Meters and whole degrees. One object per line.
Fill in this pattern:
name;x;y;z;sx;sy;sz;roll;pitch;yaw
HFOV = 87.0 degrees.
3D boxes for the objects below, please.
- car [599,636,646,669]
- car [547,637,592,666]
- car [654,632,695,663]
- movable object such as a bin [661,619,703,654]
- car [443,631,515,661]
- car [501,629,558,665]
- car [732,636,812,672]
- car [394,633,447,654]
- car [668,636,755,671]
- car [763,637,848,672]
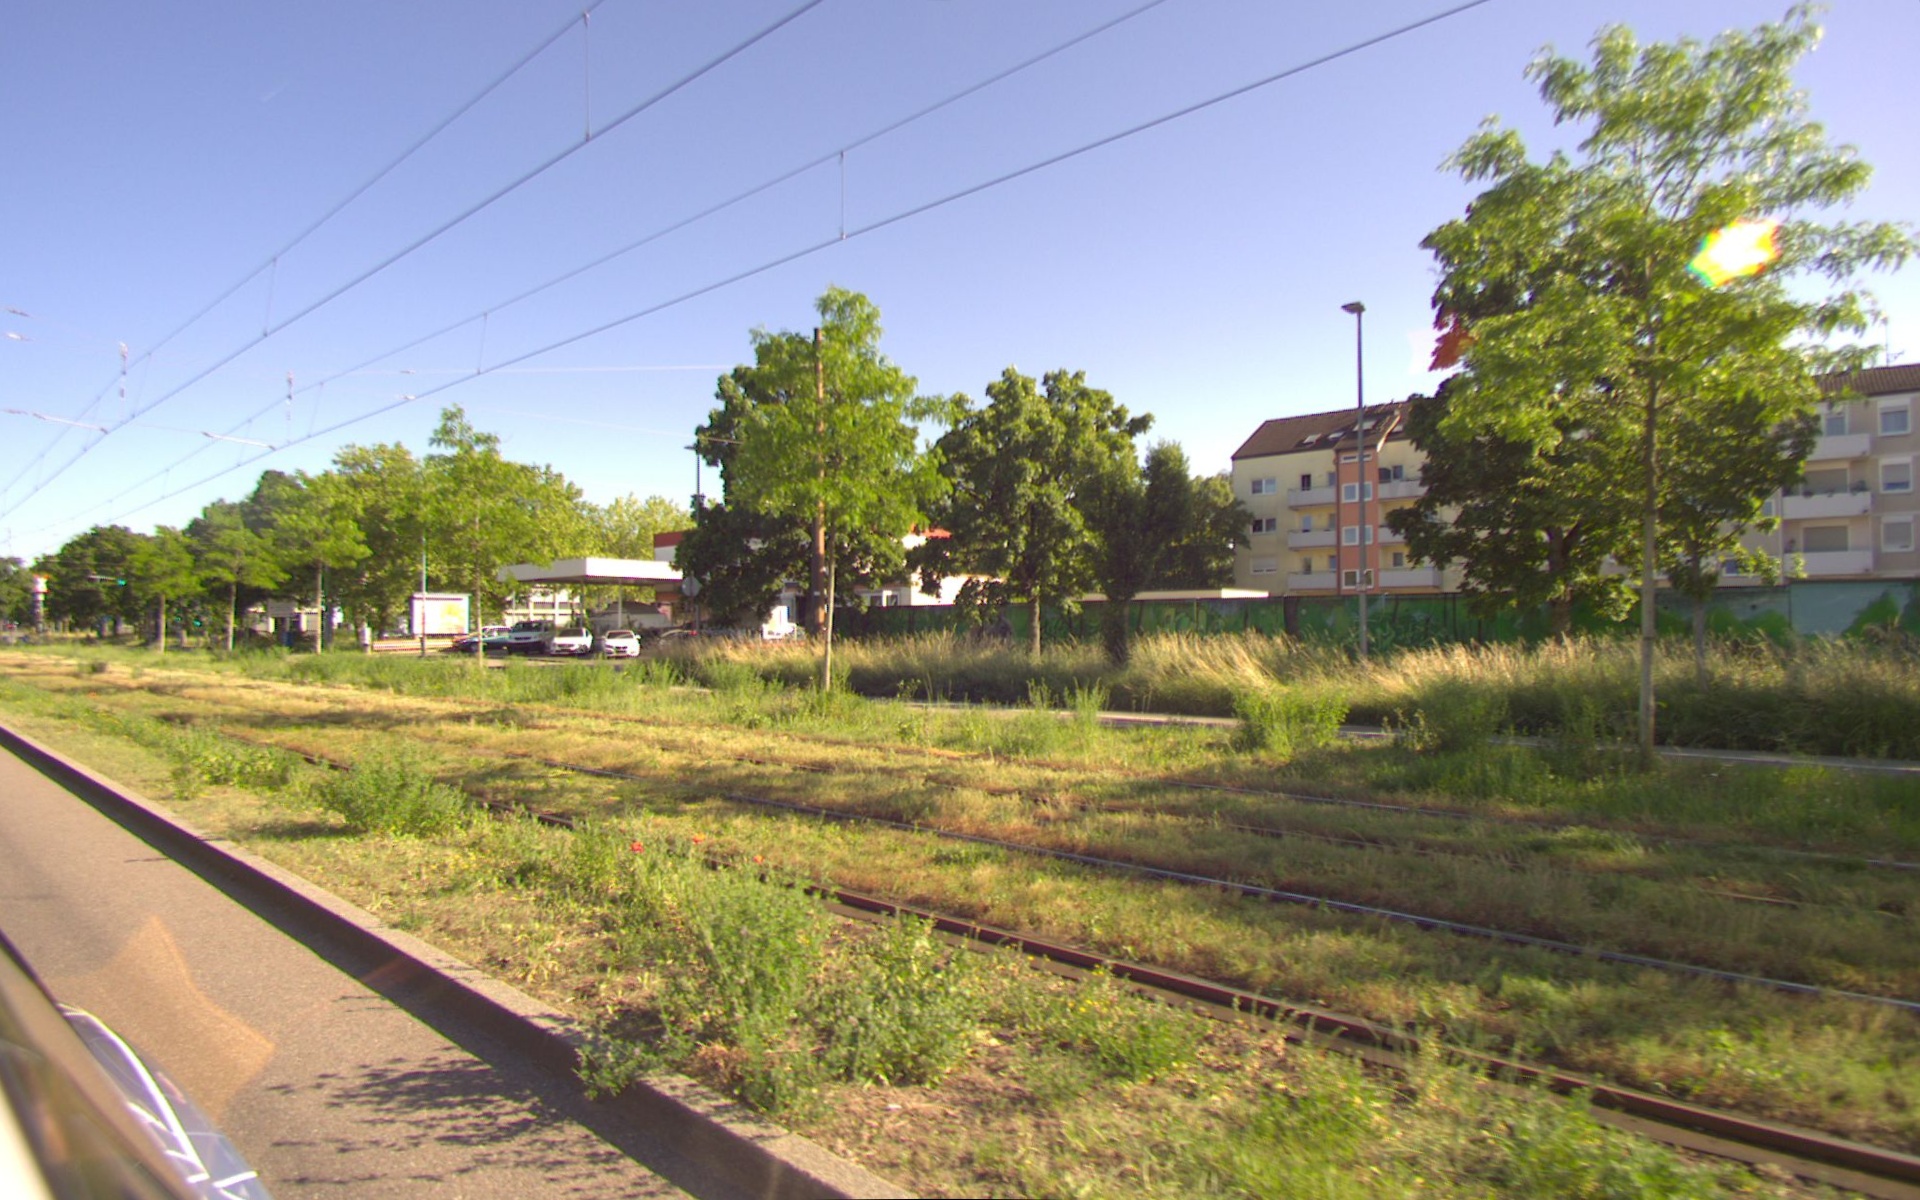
car;-17.603;2.698;52.654;1.992;1.519;4.905;1;-1;-21
car;-21.029;2.741;54.630;1.688;1.435;4.469;0;-1;-13
car;-15.313;2.539;54.384;1.820;1.519;4.000;1;-1;-12
movable object such as a bin;-11.302;1.471;41.113;1.119;1.379;1.212;-1;-2;38
car;-32.399;3.095;68.227;2.000;1.871;3.943;-2;-1;43
car;-24.388;2.661;57.478;1.868;1.925;4.820;0;-2;-9
car;-9.292;2.657;50.205;1.703;1.646;3.709;-2;-1;37
car;-50.379;4.023;94.543;1.997;1.840;4.002;-1;-1;38
car;-11.359;2.445;46.507;1.639;1.523;3.665;-2;-3;37
car;-7.338;2.576;48.226;1.704;1.521;3.778;-2;-2;41
